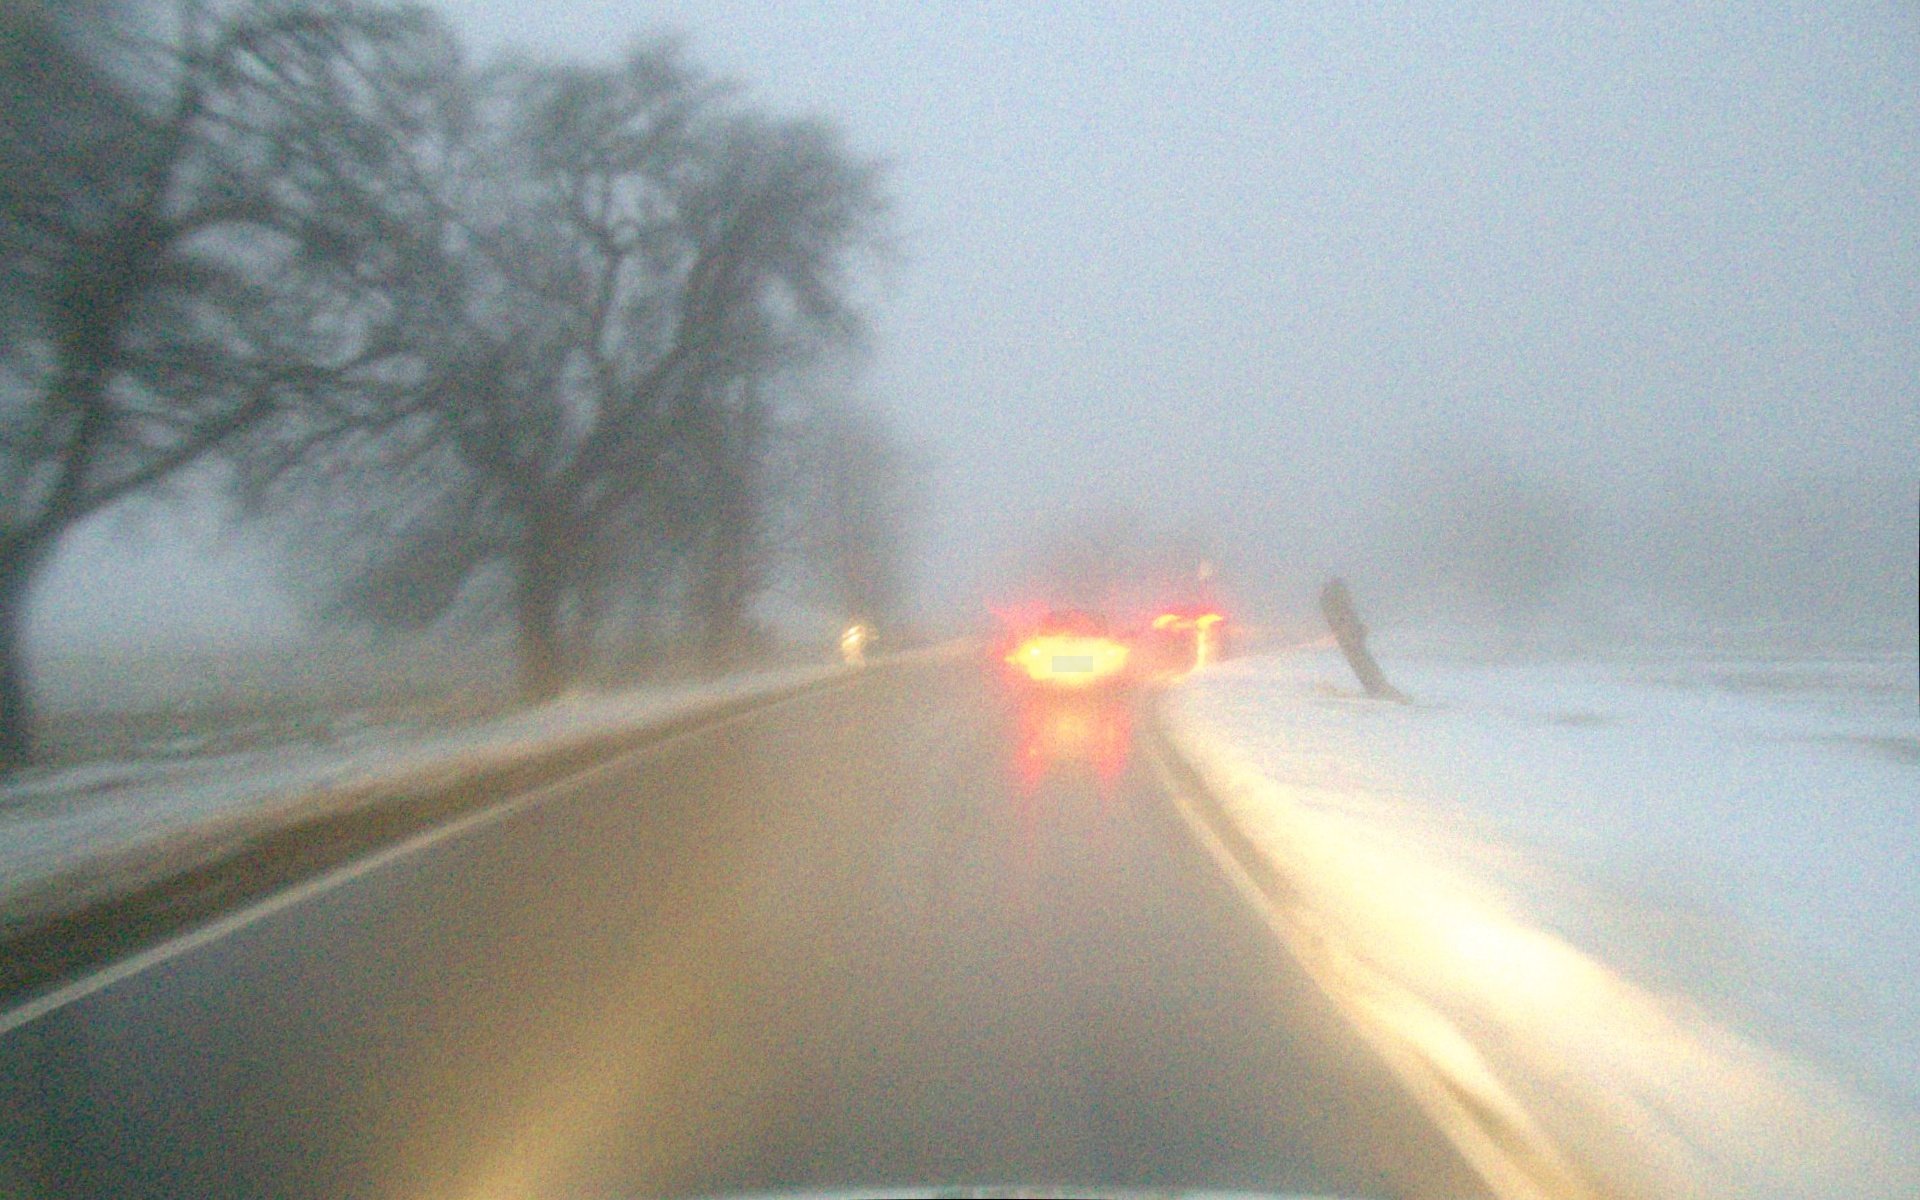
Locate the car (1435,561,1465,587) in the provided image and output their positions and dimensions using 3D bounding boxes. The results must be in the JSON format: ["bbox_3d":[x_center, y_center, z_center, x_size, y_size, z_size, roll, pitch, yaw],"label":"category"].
[{"bbox_3d":[31.276,-1.666,105.592,1.491,1.534,3.052,-1,-1,23],"label":"car"}]

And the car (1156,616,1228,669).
[{"bbox_3d":[7.123,1.263,50.548,1.449,1.534,3.052,-1,0,23],"label":"car"}]

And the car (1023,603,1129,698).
[{"bbox_3d":[1.993,0.821,28.931,1.671,1.489,4.001,2,0,3],"label":"car"}]
